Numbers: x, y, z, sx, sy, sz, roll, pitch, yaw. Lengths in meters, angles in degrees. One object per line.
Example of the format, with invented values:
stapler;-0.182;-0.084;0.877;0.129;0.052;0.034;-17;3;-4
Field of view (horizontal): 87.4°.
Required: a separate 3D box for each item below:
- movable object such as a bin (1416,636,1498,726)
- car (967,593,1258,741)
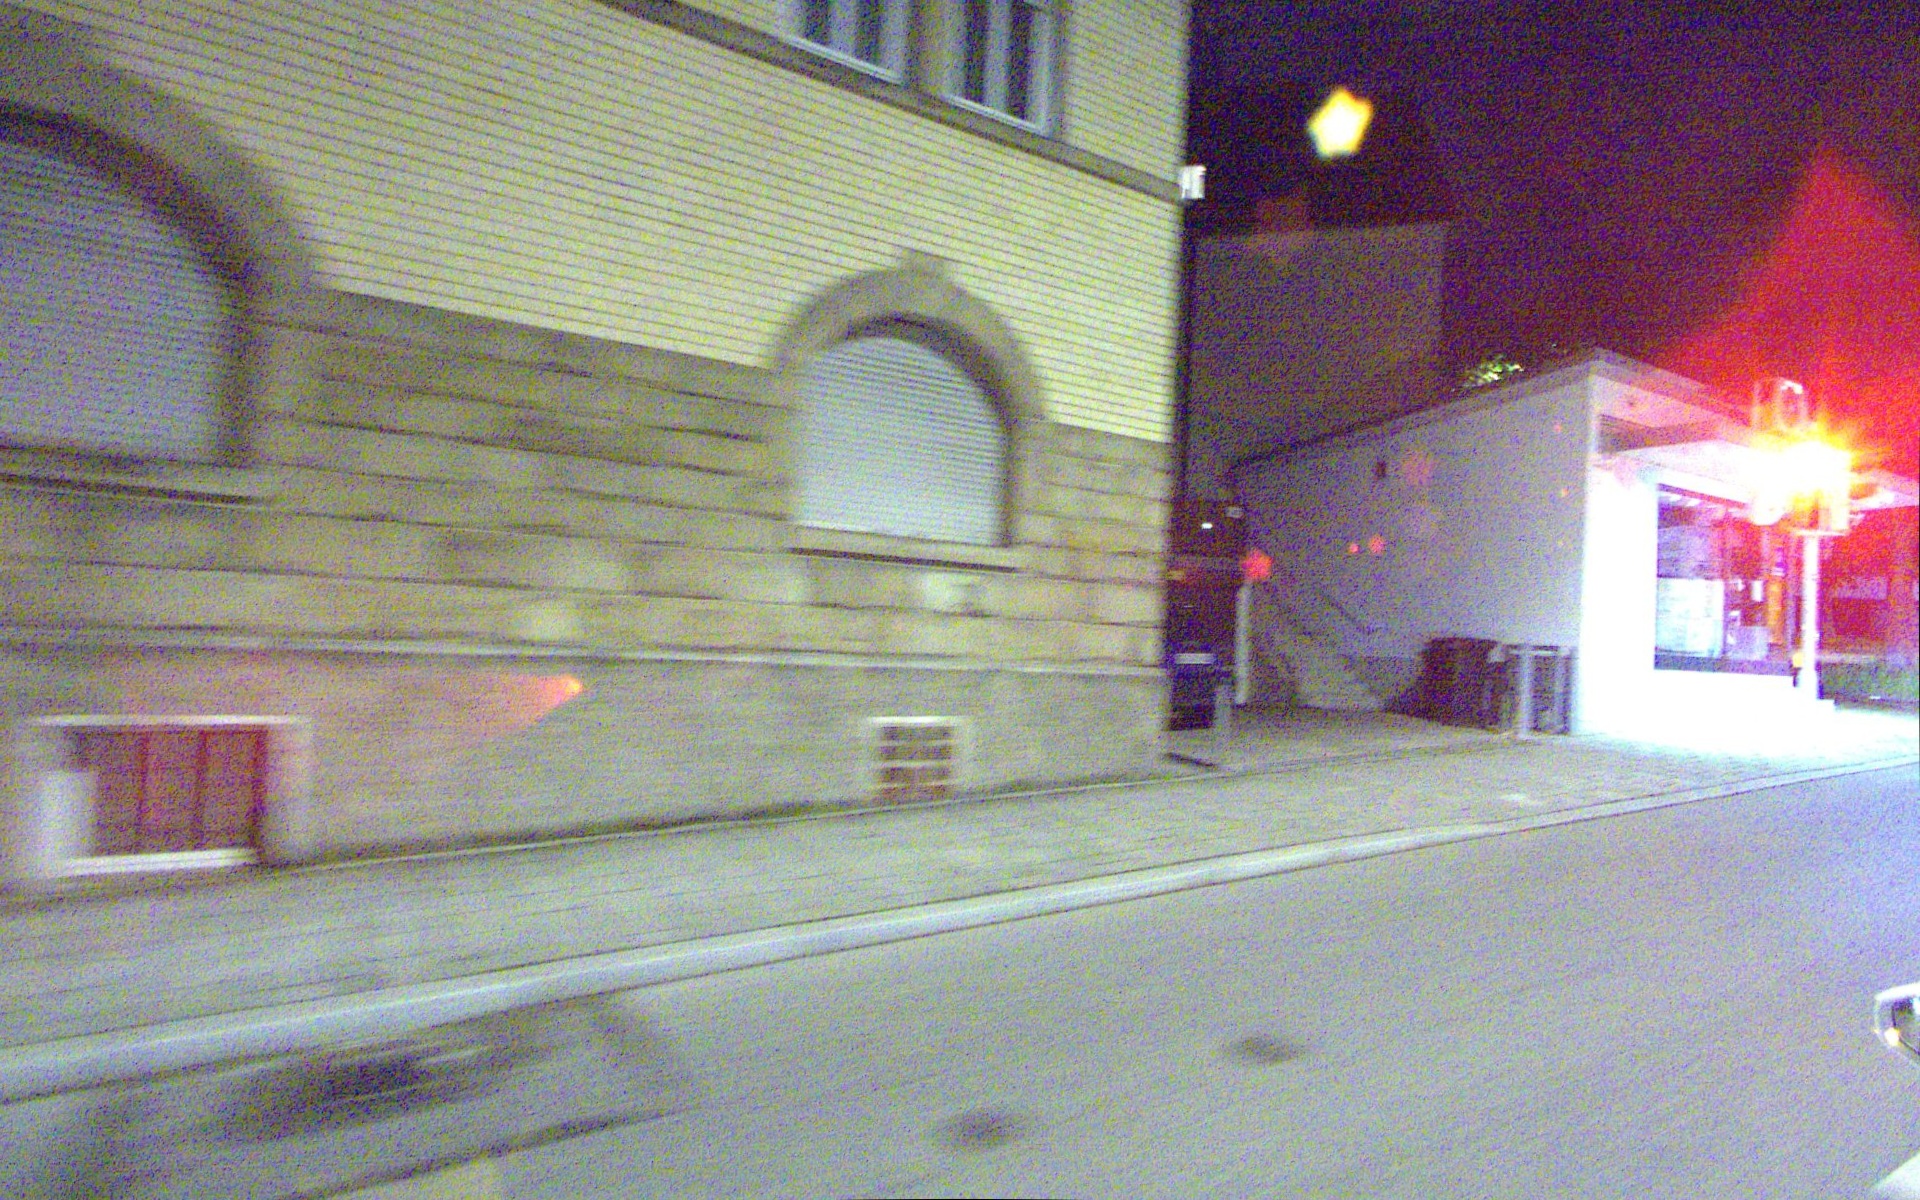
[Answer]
movable object such as a bin;6.196;0.996;12.544;0.643;1.063;0.639;1;0;-12
car;1.663;0.683;11.923;1.655;1.470;3.340;1;0;-31
